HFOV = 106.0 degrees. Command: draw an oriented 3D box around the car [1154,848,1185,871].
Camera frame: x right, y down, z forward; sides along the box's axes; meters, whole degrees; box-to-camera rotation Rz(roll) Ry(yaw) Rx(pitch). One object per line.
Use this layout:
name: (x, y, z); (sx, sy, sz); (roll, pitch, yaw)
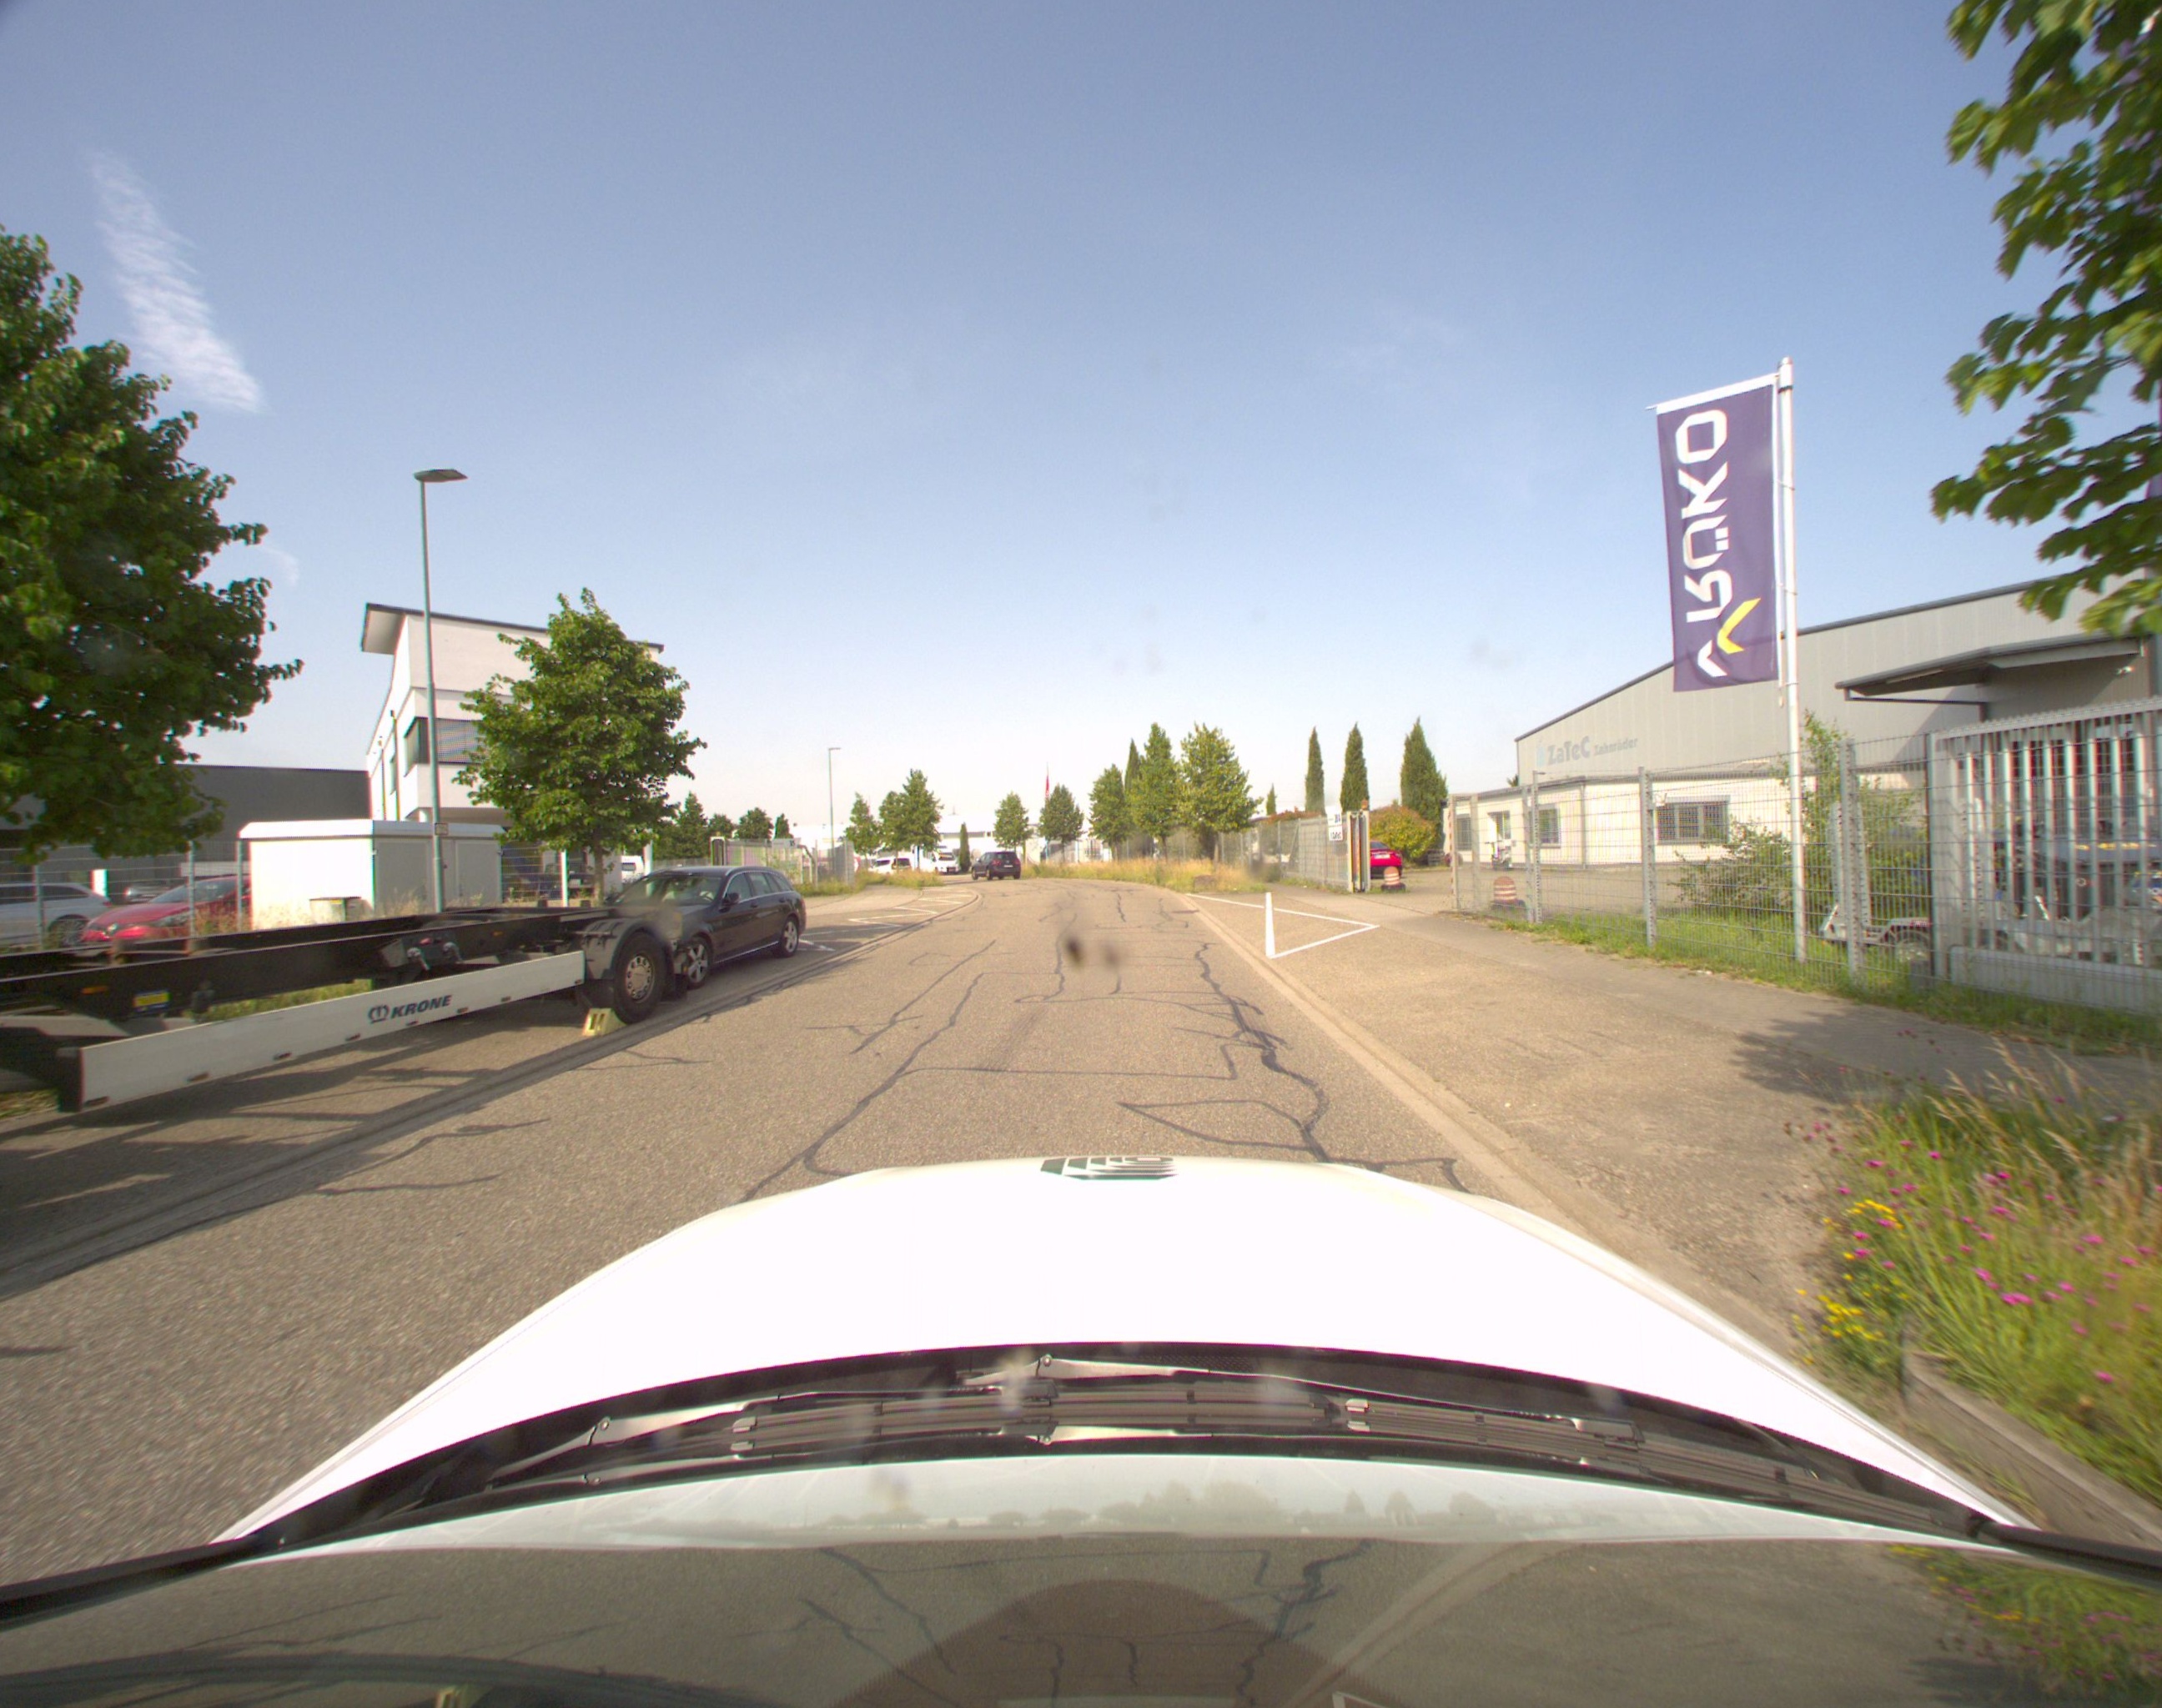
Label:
car: (6.534, 0.401, 60.567); (1.718, 1.643, 3.996); (0, 0, -3)

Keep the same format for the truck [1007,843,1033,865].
truck: (-8.391, -0.065, 112.321); (2.440, 2.826, 8.009); (-2, 0, 3)

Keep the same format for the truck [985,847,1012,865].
truck: (-11.352, 0.268, 112.476); (2.440, 2.265, 8.009); (-2, 0, 3)

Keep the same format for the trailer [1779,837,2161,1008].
trailer: (9.274, 0.505, 7.217); (2.118, 1.244, 4.797); (-2, 0, 1)

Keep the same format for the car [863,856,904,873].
car: (-20.001, 1.049, 82.684); (2.148, 1.476, 4.019); (-2, 0, 18)

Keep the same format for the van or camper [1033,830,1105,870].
van or camper: (-1.043, -0.248, 62.009); (2.363, 2.848, 7.274); (-1, 0, -28)

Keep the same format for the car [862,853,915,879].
car: (-14.978, 0.950, 63.297); (2.011, 1.899, 4.413); (-2, 0, -43)

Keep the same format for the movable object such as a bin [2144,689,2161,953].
movable object such as a bin: (12.021, -0.367, 5.940); (1.879, 2.752, 5.164); (-2, 0, 3)

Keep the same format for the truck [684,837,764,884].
truck: (-32.065, 0.674, 72.733); (2.649, 3.929, 12.762); (-1, -1, -42)

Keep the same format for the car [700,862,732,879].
car: (-40.610, 1.864, 90.580); (2.011, 1.772, 3.951); (-2, 0, -43)

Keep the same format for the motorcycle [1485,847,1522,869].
motorcycle: (15.306, 0.152, 29.524); (0.532, 0.751, 1.584); (-3, 0, 2)

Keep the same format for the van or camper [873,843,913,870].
van or camper: (-22.497, 0.272, 97.739); (2.650, 3.084, 6.804); (-2, 0, 4)

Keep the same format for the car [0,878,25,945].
car: (-25.595, 1.387, 16.692); (1.928, 1.494, 4.480); (-2, 1, 2)

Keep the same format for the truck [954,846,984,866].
truck: (-15.015, 0.213, 109.939); (2.440, 2.471, 8.009); (-2, 0, 3)

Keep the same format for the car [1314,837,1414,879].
car: (10.116, 0.125, 29.516); (1.875, 1.358, 4.771); (-2, 0, -1)

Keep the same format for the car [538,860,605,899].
car: (-20.387, 1.013, 32.547); (1.572, 1.415, 3.874); (-2, 0, -42)

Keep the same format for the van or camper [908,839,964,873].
van or camper: (-13.372, 0.239, 74.812); (2.348, 2.943, 6.895); (-2, 0, -35)

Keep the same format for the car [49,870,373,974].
car: (-16.605, 1.195, 15.953); (1.766, 1.525, 4.300); (-2, 1, -3)

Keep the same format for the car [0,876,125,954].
car: (-22.985, 1.332, 16.477); (1.826, 1.494, 4.480); (-2, 1, 2)

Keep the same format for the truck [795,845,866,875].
truck: (-35.926, 0.846, 116.949); (9.254, 3.972, 2.458); (-2, 0, 0)

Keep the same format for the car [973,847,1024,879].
car: (-4.912, 0.517, 48.020); (2.001, 1.805, 3.970); (0, -1, -22)

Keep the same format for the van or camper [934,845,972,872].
van or camper: (-12.879, 0.400, 82.647); (2.473, 2.558, 6.630); (-2, 0, 3)

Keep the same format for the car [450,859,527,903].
car: (-22.138, 0.988, 30.366); (1.879, 1.487, 3.951); (-2, 0, -42)

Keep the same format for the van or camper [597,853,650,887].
van or camper: (-37.202, 1.324, 66.169); (4.891, 2.560, 2.327); (-2, 0, 44)

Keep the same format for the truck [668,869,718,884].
truck: (-37.577, 2.175, 78.774); (2.547, 1.265, 6.446); (-2, 0, -44)

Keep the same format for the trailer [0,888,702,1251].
trailer: (-5.531, 1.048, 5.686); (2.121, 1.232, 7.162); (0, 1, 3)

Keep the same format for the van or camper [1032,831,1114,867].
van or camper: (-0.746, -0.436, 73.648); (7.244, 3.032, 2.582); (-2, 0, -4)

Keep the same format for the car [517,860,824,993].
car: (-5.520, 0.875, 11.768); (1.985, 1.466, 4.436); (0, 1, 3)

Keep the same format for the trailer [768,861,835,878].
trailer: (-28.010, 1.555, 81.408); (2.647, 1.388, 9.338); (-5, 2, -43)
